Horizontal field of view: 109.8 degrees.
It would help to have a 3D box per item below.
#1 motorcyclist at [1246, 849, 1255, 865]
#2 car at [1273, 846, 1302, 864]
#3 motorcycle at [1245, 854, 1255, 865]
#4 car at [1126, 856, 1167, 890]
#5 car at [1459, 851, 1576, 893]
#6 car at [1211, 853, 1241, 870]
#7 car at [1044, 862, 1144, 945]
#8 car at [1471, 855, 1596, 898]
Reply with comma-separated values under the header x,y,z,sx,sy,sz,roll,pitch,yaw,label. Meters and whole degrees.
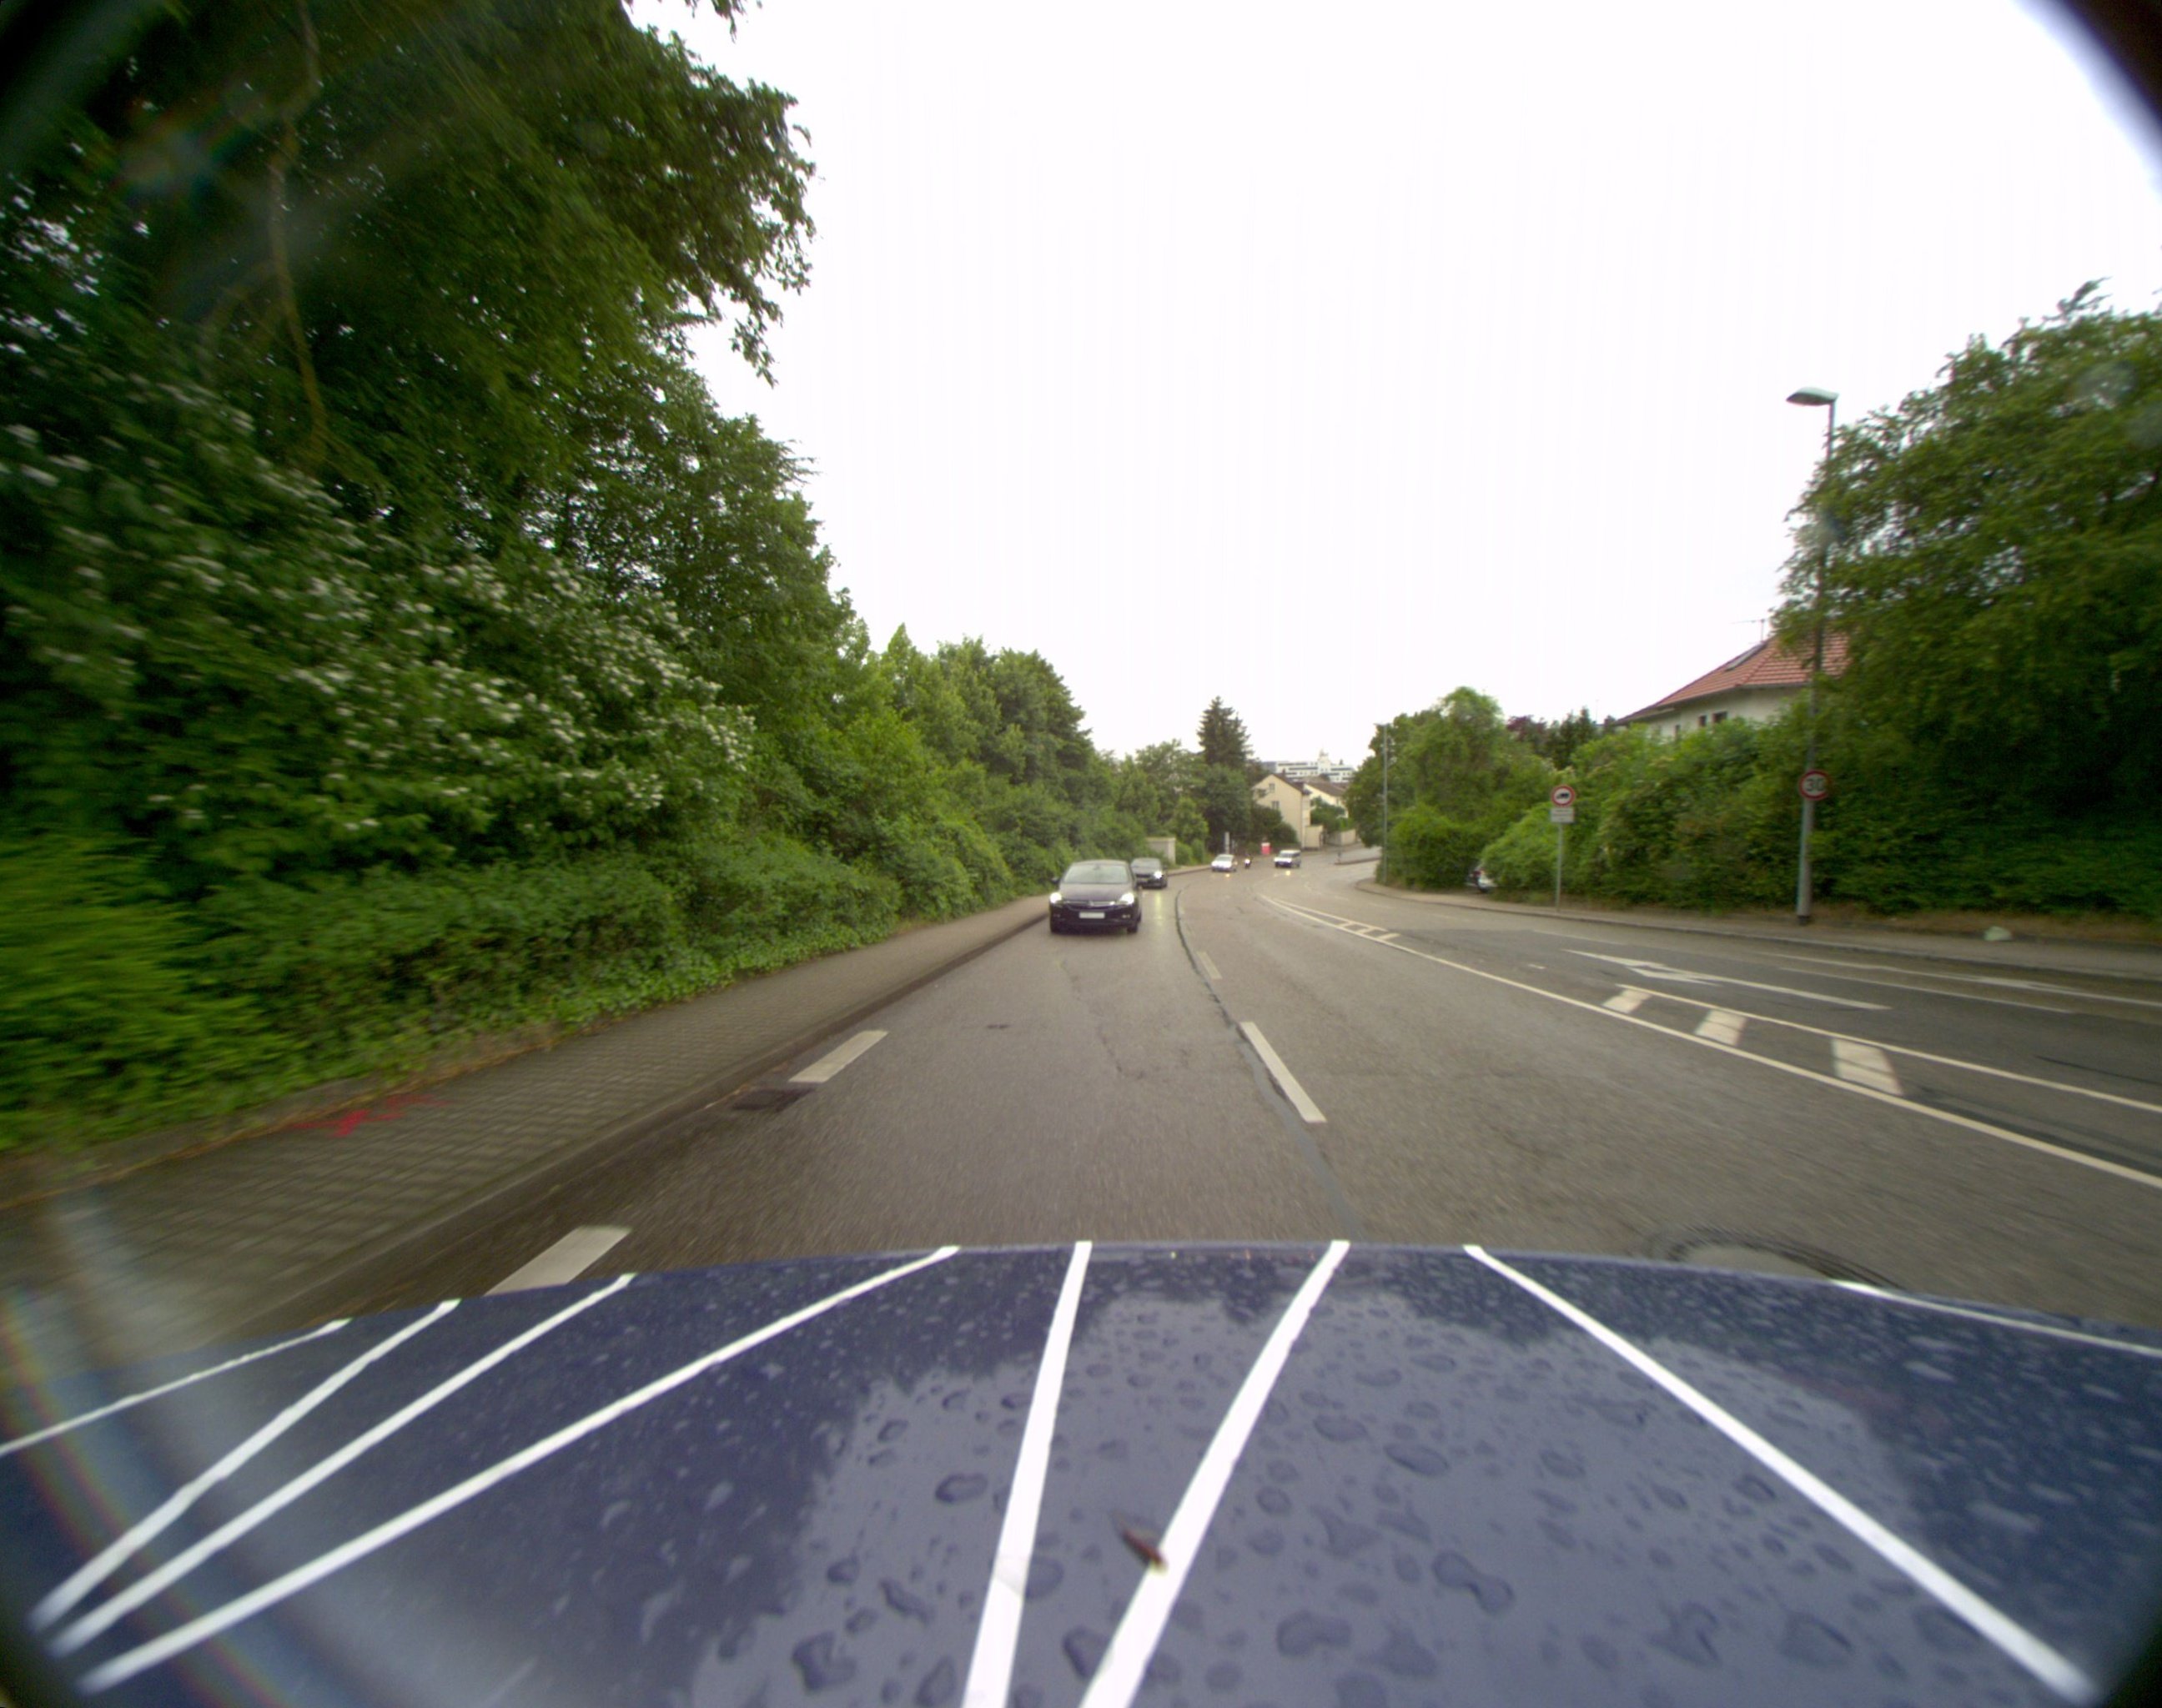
x,y,z,sx,sy,sz,roll,pitch,yaw,label
17.480,0.273,78.372,0.765,1.633,0.675,2,2,23,motorcyclist
22.398,0.109,82.206,1.773,1.765,4.009,3,1,34,car
17.438,0.561,78.291,0.691,1.047,1.750,3,2,23,motorcycle
3.291,0.893,37.521,1.871,1.497,4.199,0,0,7,car
19.298,0.798,33.766,3.995,1.527,2.001,-4,0,8,car
13.265,0.676,69.362,1.814,1.430,4.007,3,1,24,car
0.411,0.942,16.329,1.815,1.434,4.164,1,1,5,car
18.407,0.890,31.055,3.908,1.432,1.812,-4,0,9,car
